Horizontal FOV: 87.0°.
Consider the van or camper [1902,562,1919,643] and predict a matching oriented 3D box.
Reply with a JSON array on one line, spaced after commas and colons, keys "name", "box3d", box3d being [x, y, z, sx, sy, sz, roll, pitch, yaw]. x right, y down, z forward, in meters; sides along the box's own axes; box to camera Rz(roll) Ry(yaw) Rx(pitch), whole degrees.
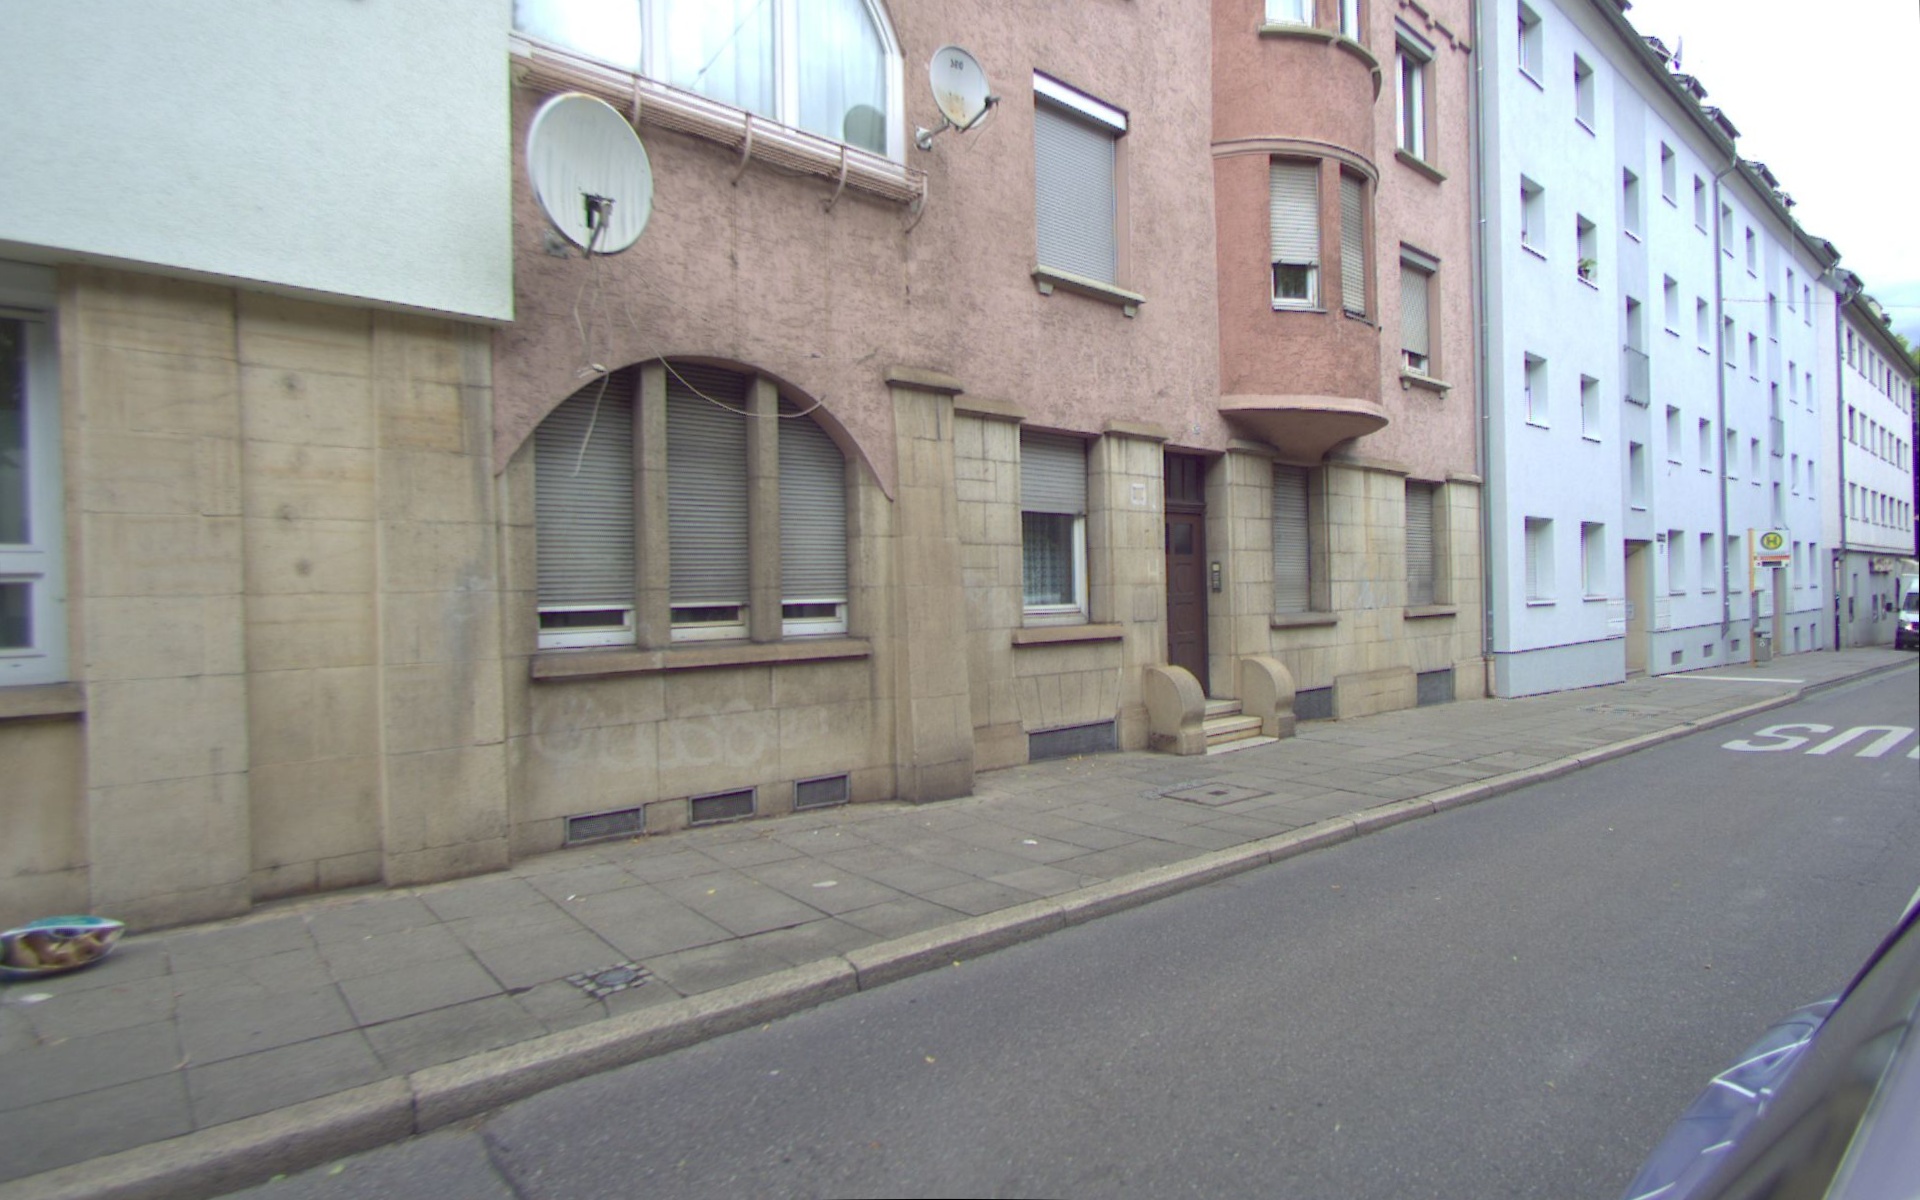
[{"name": "van or camper", "box3d": [36.578, 0.088, 37.186, 7.117, 2.839, 2.482, 0, -1, -44]}]
